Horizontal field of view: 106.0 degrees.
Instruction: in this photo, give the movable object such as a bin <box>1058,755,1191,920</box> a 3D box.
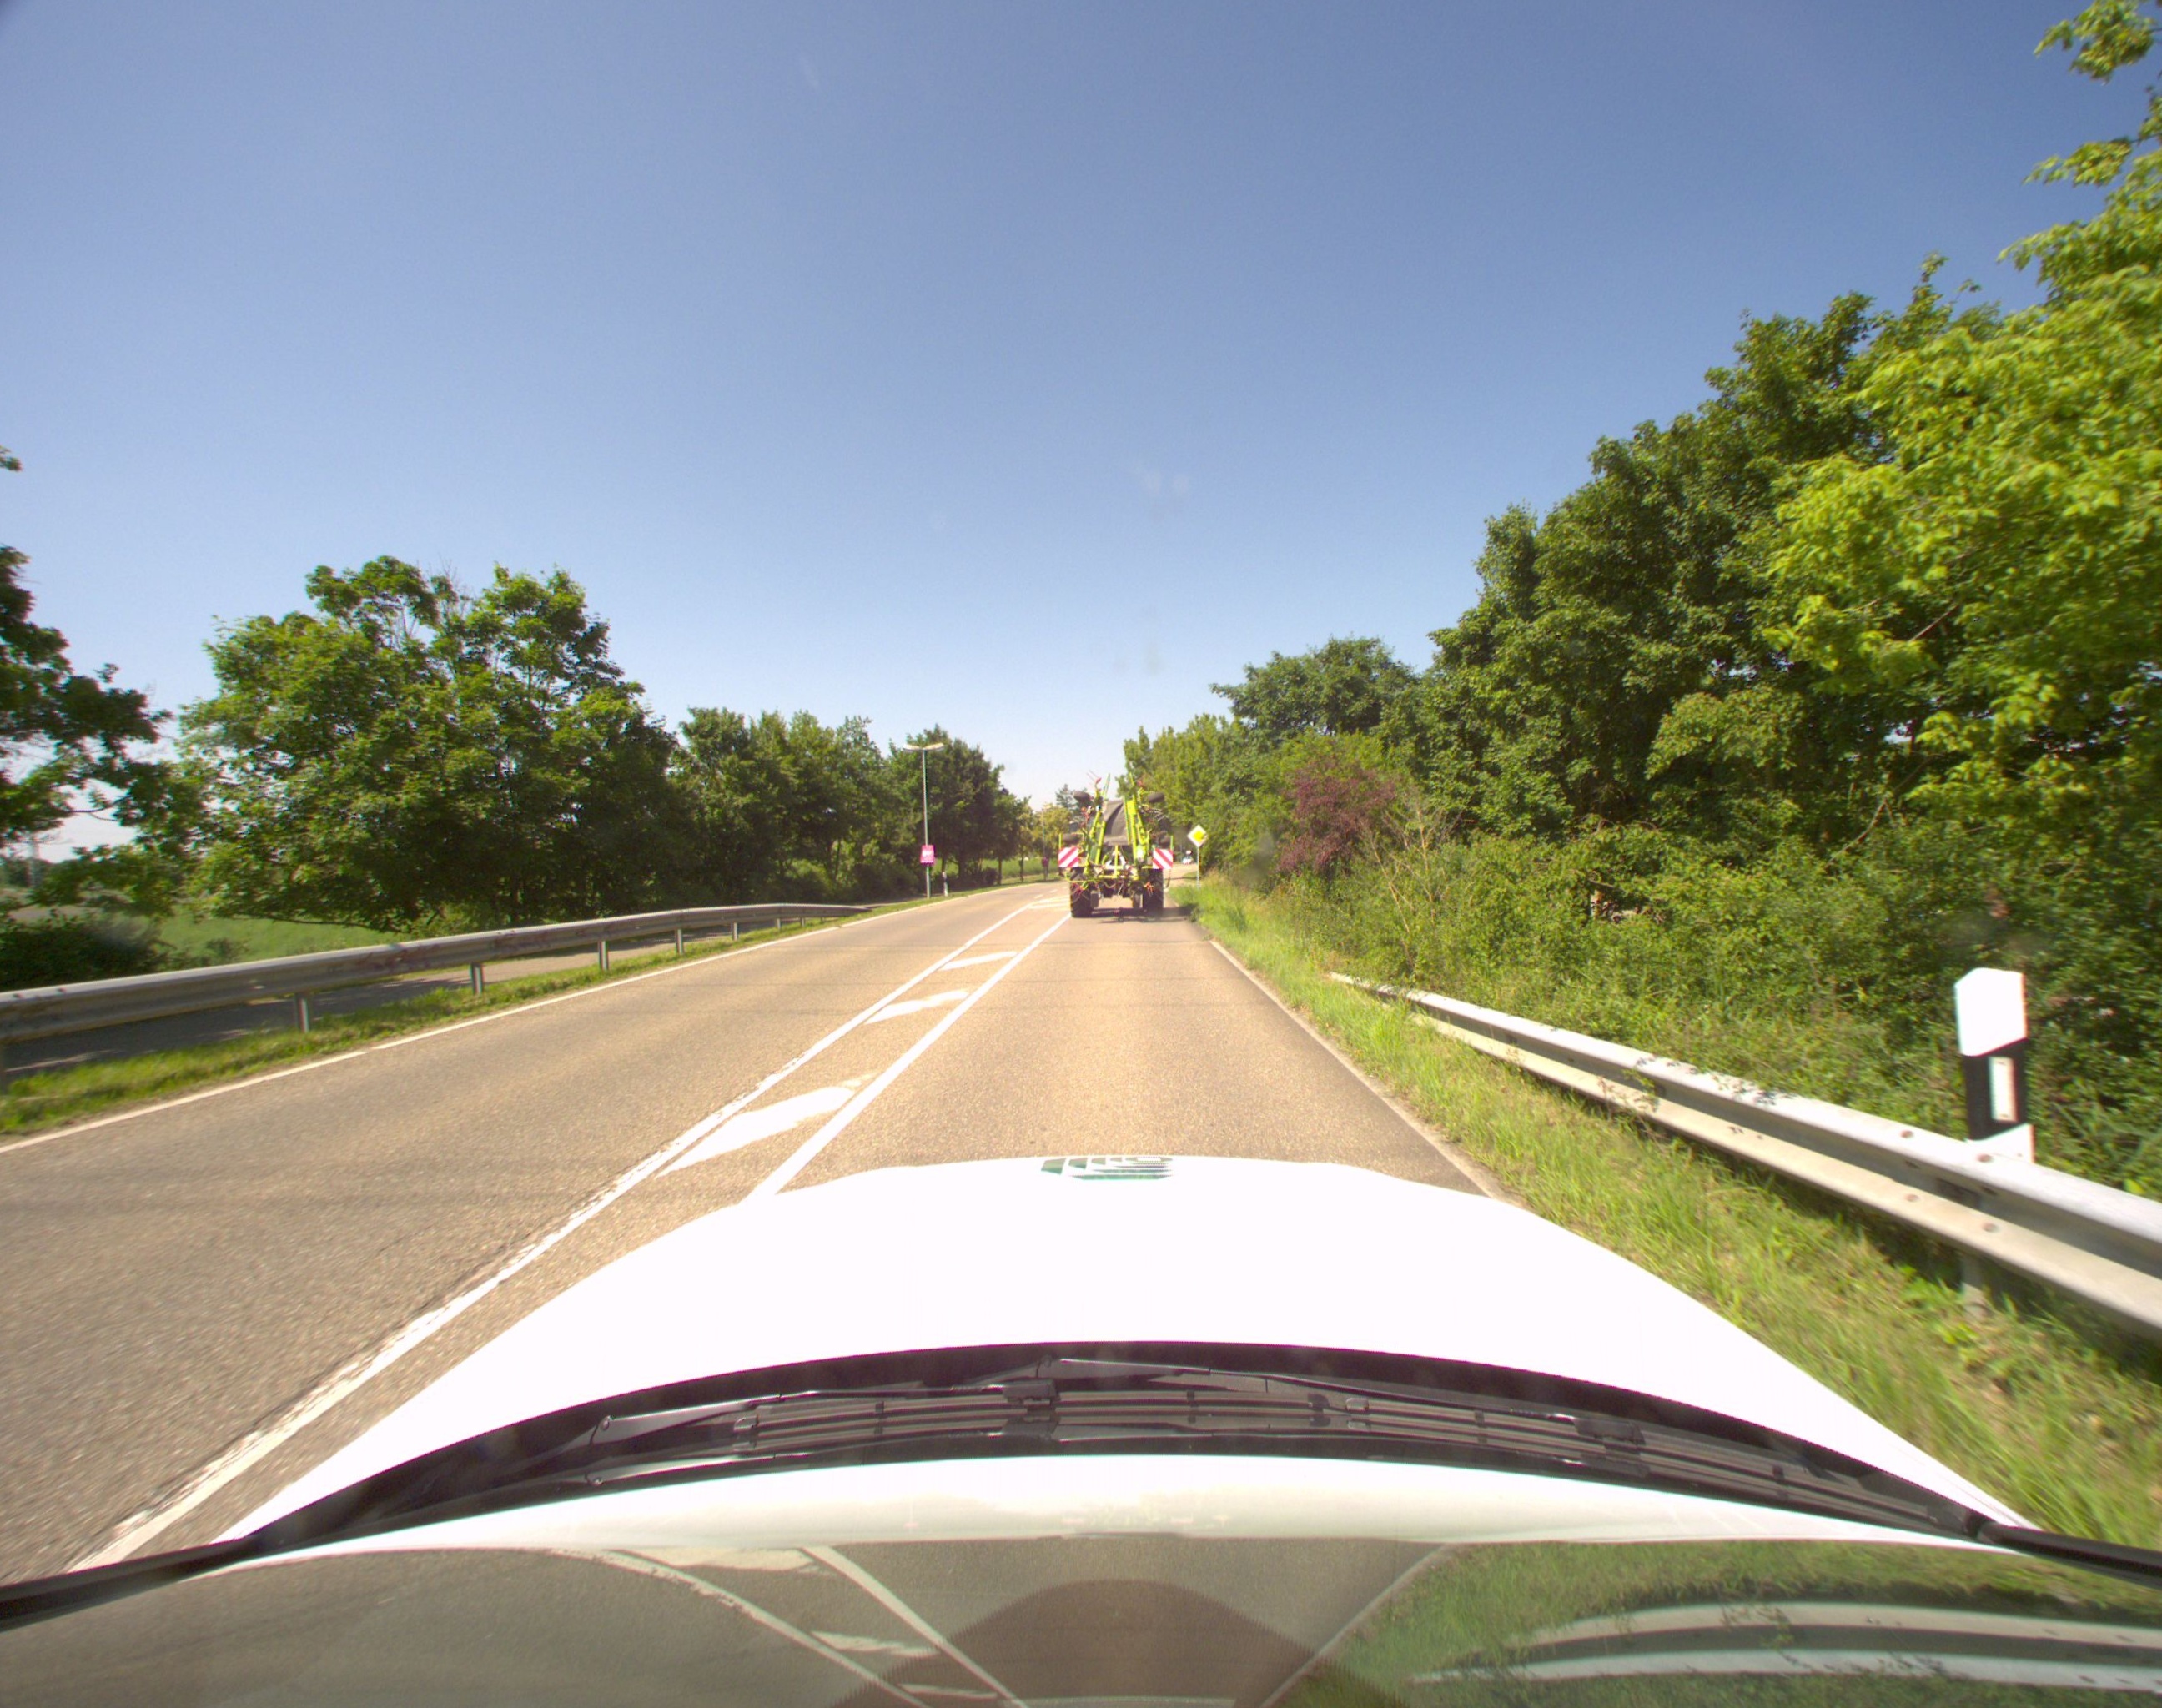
[{"bbox_3d":[1.053,-0.392,22.579,2.842,3.541,9.703,-1,0,1],"label":"movable object such as a bin"}]
